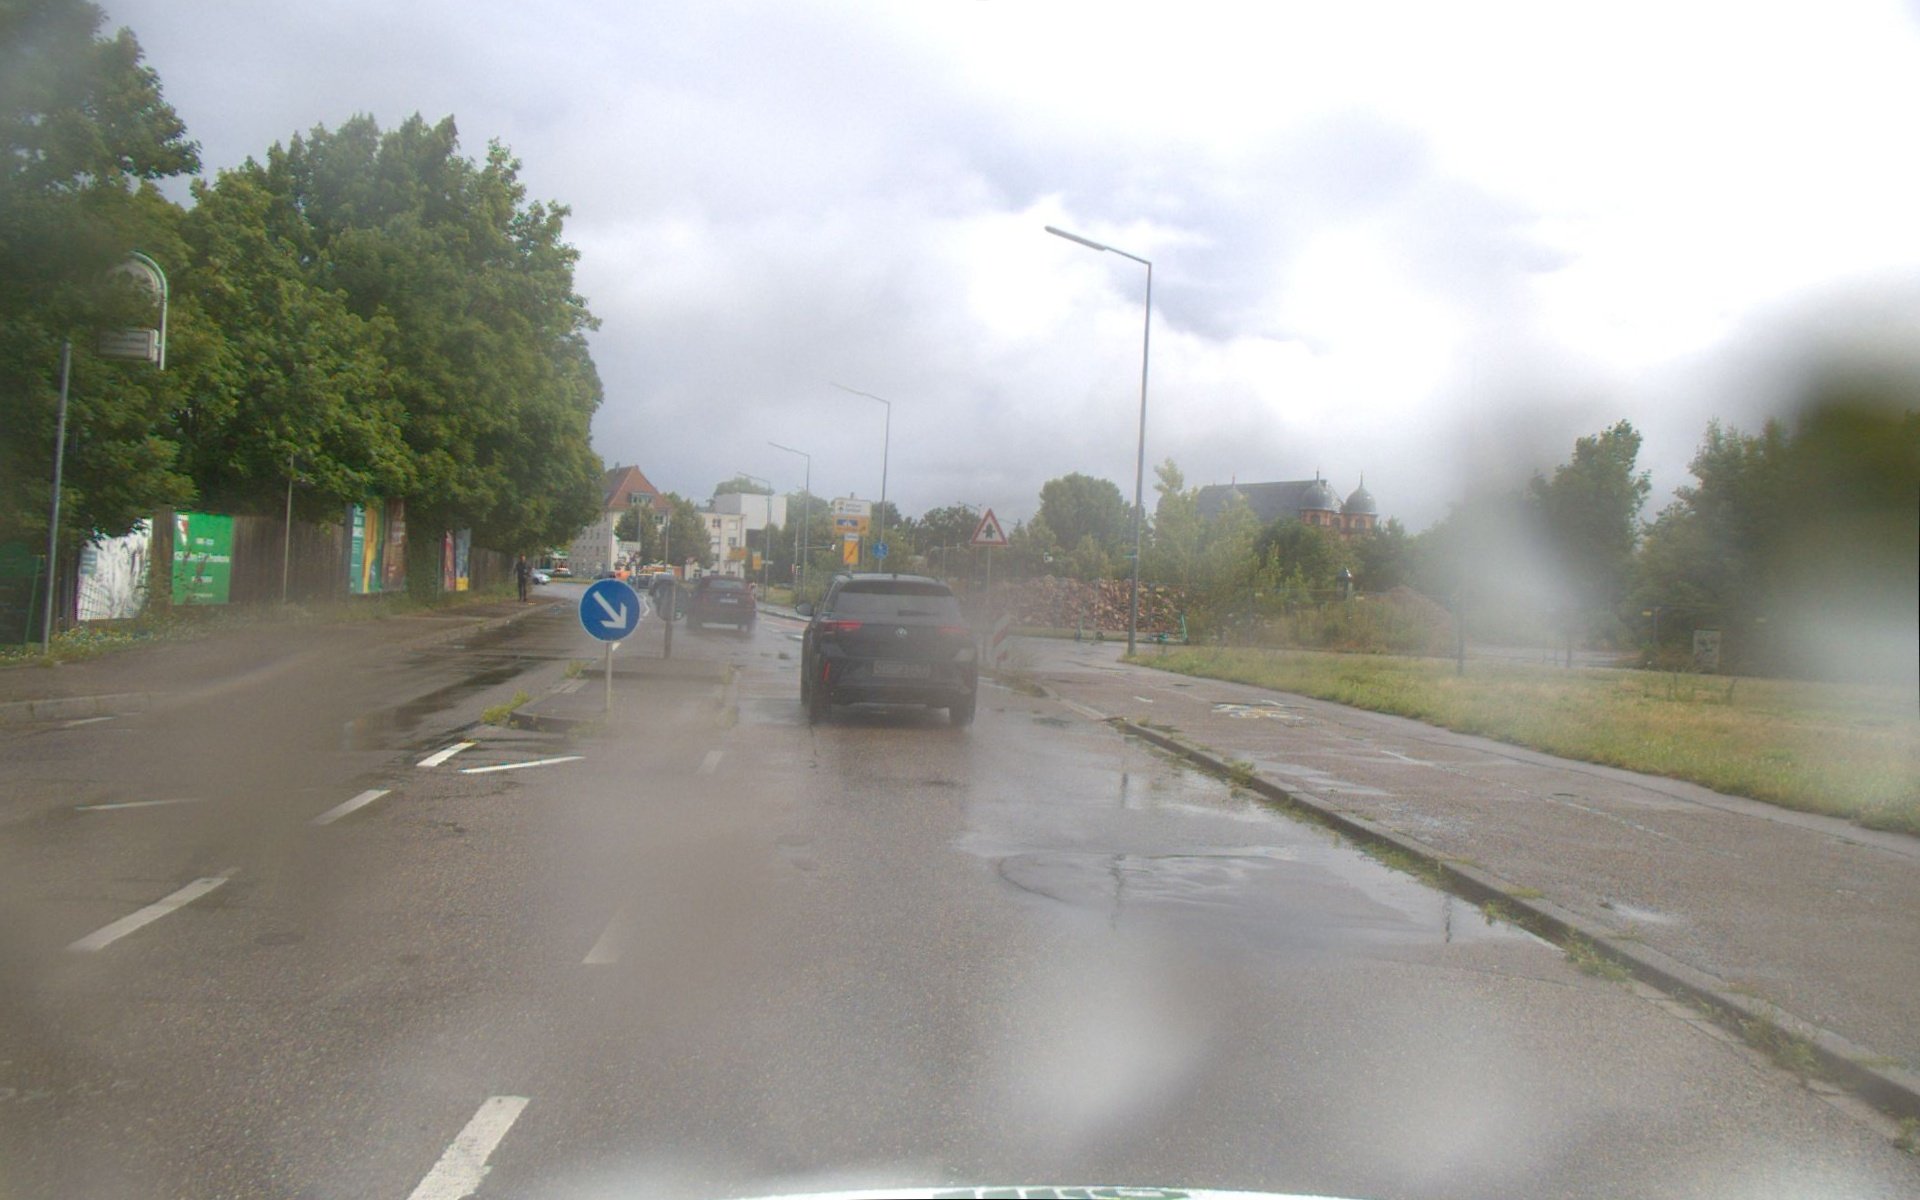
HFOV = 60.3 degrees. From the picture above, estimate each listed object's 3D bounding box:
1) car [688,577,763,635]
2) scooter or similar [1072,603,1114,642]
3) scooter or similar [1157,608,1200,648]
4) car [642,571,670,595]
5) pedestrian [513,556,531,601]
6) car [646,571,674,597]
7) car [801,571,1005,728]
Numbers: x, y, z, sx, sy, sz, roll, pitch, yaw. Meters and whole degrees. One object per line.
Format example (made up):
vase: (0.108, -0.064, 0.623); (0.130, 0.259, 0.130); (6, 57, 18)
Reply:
car: (-6.362, 0.171, 44.627); (1.808, 1.467, 3.989); (0, 0, -11)
scooter or similar: (4.563, 0.775, 56.957); (1.257, 1.207, 0.502); (6, 2, 30)
scooter or similar: (7.443, 0.950, 56.342); (1.257, 1.207, 0.502); (6, 2, 30)
car: (-23.188, -1.316, 126.019); (1.961, 1.732, 4.004); (2, 0, -12)
pedestrian: (-17.343, -0.863, 65.507); (0.515, 1.730, 0.565); (5, 1, -11)
car: (-20.780, -1.097, 114.499); (1.809, 1.670, 4.004); (2, 0, -12)
car: (-0.749, 0.483, 18.442); (1.949, 1.547, 3.994); (0, 0, -7)
